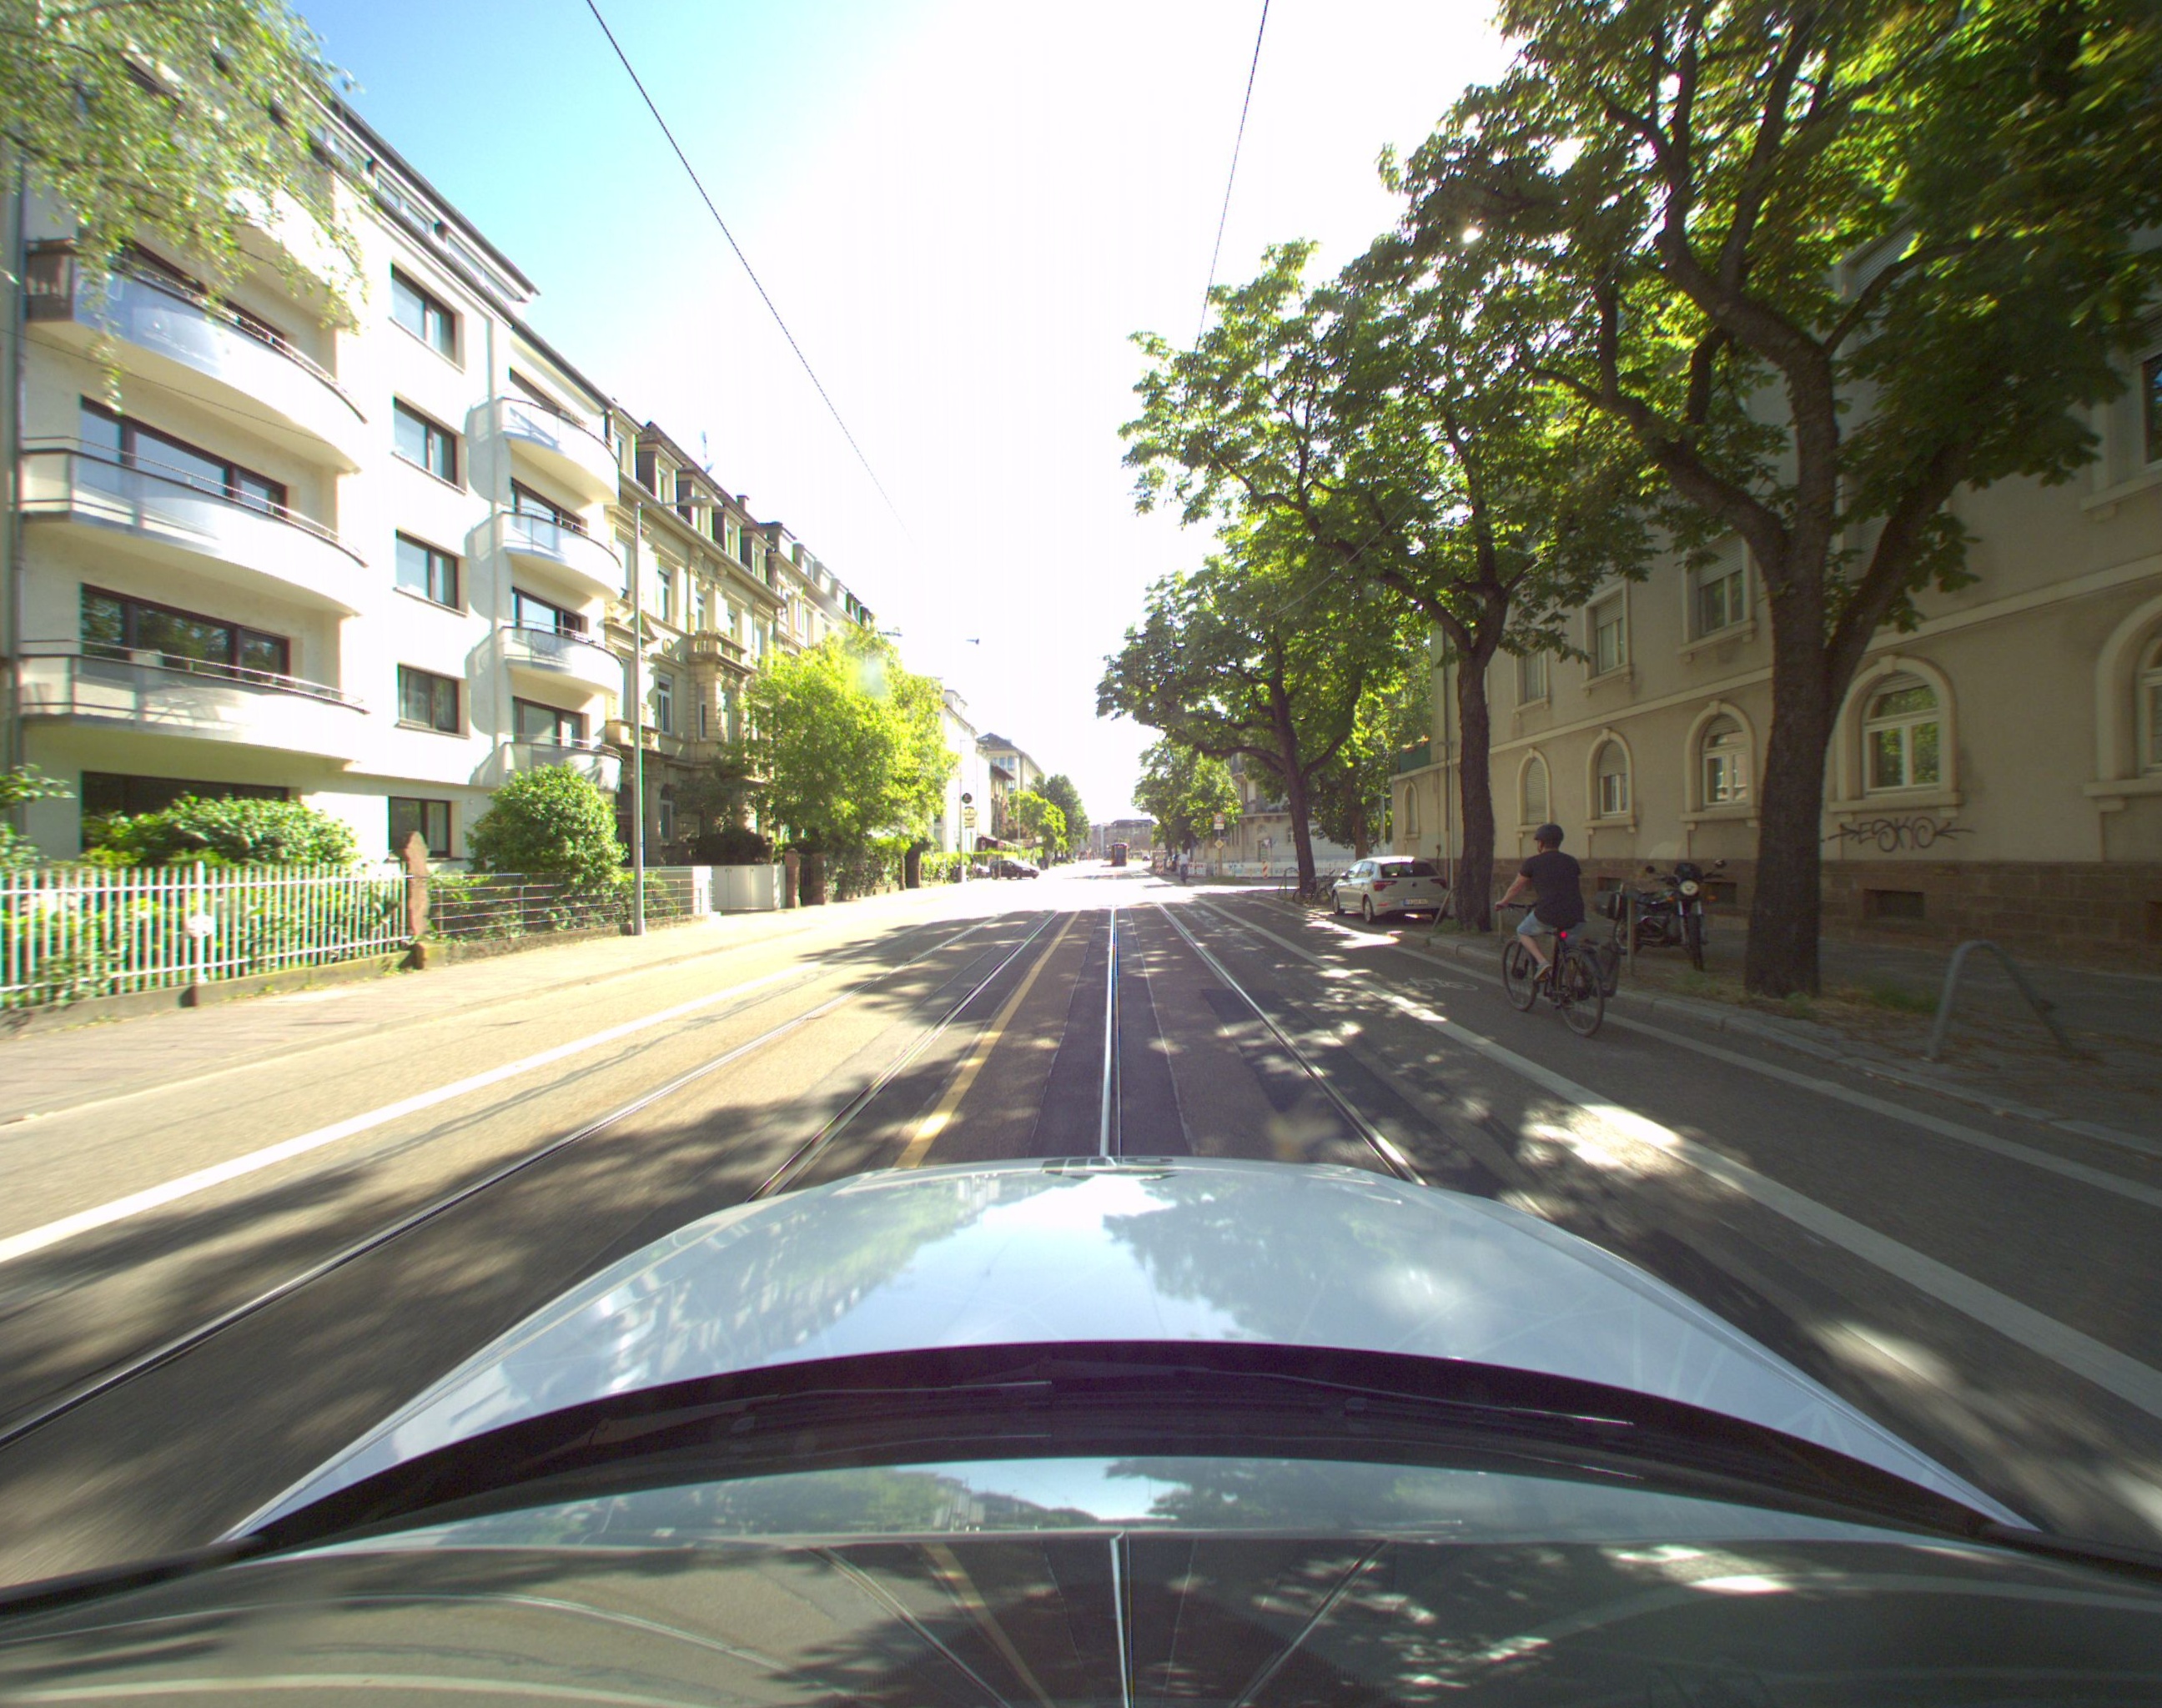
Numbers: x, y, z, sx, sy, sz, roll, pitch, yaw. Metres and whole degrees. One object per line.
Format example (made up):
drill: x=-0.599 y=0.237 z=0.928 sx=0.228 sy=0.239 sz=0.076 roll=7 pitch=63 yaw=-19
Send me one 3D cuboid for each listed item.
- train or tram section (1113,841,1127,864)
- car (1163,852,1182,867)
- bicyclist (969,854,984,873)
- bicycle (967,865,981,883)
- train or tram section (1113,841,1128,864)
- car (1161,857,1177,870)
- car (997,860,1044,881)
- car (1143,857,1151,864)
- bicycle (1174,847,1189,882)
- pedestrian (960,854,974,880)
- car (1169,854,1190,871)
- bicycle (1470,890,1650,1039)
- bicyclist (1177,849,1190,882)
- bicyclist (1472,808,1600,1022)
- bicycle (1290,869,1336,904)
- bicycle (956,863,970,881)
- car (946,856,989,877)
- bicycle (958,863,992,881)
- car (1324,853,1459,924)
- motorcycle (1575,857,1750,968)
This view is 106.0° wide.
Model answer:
train or tram section: x=6.057 y=-0.252 z=128.283 sx=2.145 sy=3.431 sz=6.614 roll=0 pitch=0 yaw=2
car: x=9.585 y=0.596 z=85.672 sx=1.747 sy=1.552 sz=3.679 roll=0 pitch=0 yaw=2
bicyclist: x=-7.125 y=0.644 z=55.493 sx=0.766 sy=1.291 sz=0.737 roll=0 pitch=0 yaw=18
bicycle: x=-6.786 y=1.243 z=51.463 sx=0.634 sy=1.069 sz=1.822 roll=0 pitch=0 yaw=-15
train or tram section: x=5.811 y=-0.220 z=121.632 sx=2.145 sy=3.431 sz=6.614 roll=0 pitch=0 yaw=2
car: x=10.940 y=1.185 z=101.817 sx=1.747 sy=1.552 sz=3.679 roll=0 pitch=0 yaw=2
car: x=-4.542 y=1.236 z=60.605 sx=1.768 sy=1.420 sz=3.538 roll=0 pitch=-2 yaw=-39
car: x=16.207 y=1.581 z=200.258 sx=1.865 sy=1.662 sz=3.516 roll=0 pitch=0 yaw=2
bicycle: x=5.532 y=0.560 z=44.880 sx=0.660 sy=1.859 sz=2.262 roll=0 pitch=0 yaw=4
pedestrian: x=-7.485 y=0.874 z=53.596 sx=0.767 sy=1.712 sz=0.669 roll=0 pitch=0 yaw=2
car: x=9.310 y=0.813 z=77.286 sx=1.747 sy=1.552 sz=3.679 roll=0 pitch=0 yaw=2
bicycle: x=4.256 y=0.922 z=7.396 sx=0.689 sy=1.112 sz=1.720 roll=0 pitch=0 yaw=2
bicyclist: x=5.585 y=0.623 z=44.404 sx=0.643 sy=1.796 sz=0.956 roll=0 pitch=0 yaw=2
bicyclist: x=4.135 y=0.522 z=7.466 sx=0.725 sy=1.848 sz=0.837 roll=0 pitch=0 yaw=1
bicycle: x=7.002 y=0.966 z=24.615 sx=1.262 sy=1.024 sz=0.706 roll=0 pitch=-1 yaw=10
bicycle: x=-7.291 y=1.125 z=50.262 sx=0.634 sy=1.069 sz=1.823 roll=0 pitch=0 yaw=-14
car: x=-9.250 y=1.017 z=66.644 sx=3.407 sy=1.640 sz=1.668 roll=0 pitch=0 yaw=-7
bicycle: x=-7.215 y=1.207 z=55.546 sx=2.122 sy=1.171 sz=0.806 roll=0 pitch=0 yaw=17
car: x=7.150 y=0.722 z=19.202 sx=1.742 sy=1.420 sz=4.002 roll=-2 pitch=0 yaw=2
motorcycle: x=7.356 y=0.680 z=10.463 sx=0.707 sy=1.243 sz=2.186 roll=-2 pitch=0 yaw=2
